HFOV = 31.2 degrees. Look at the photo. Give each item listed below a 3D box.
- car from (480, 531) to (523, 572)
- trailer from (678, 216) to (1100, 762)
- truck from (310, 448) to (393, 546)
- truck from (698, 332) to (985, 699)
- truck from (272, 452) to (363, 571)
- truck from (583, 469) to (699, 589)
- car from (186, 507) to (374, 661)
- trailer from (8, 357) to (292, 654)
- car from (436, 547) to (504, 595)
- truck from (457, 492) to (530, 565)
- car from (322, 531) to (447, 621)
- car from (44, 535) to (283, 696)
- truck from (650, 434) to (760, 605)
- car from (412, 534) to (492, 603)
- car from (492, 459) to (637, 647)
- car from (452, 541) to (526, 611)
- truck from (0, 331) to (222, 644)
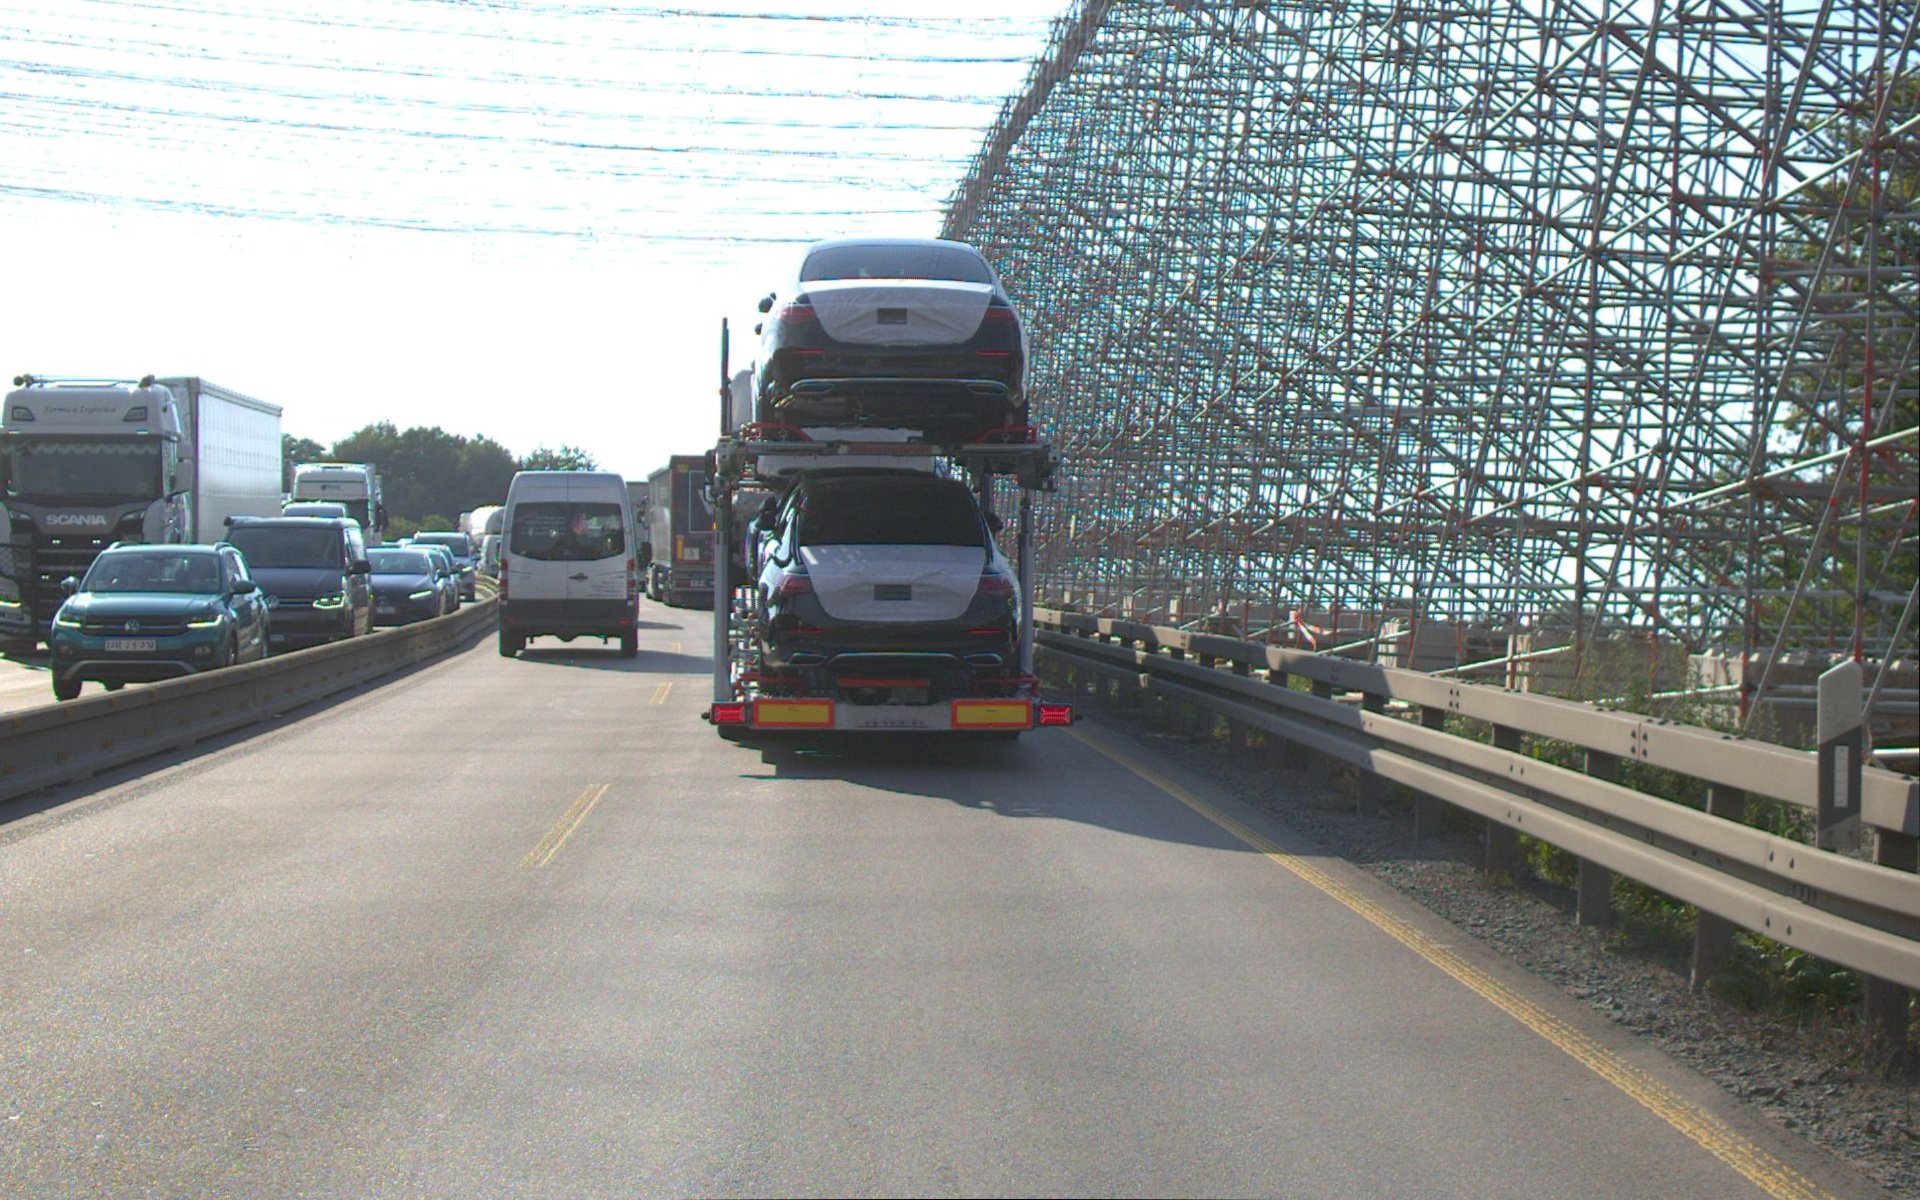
[{"bbox_3d":[-18.582,-1.946,139.454,1.710,1.612,3.504,0,0,-7],"label":"car"},{"bbox_3d":[-0.927,-0.812,31.025,2.868,3.712,14.949,0,0,-3],"label":"trailer"},{"bbox_3d":[-23.155,-3.852,130.452,2.594,3.461,12.396,2,1,-12],"label":"truck"},{"bbox_3d":[-1.425,-0.876,38.462,2.881,3.690,7.326,0,0,-4],"label":"truck"},{"bbox_3d":[-20.213,-2.766,108.532,2.594,3.461,12.396,2,1,-10],"label":"truck"},{"bbox_3d":[-12.304,-2.649,131.423,3.686,4.206,13.671,-2,1,-8],"label":"truck"},{"bbox_3d":[-9.140,-0.241,46.549,1.874,1.928,4.862,1,1,-4],"label":"car"},{"bbox_3d":[-13.075,-1.485,56.717,2.653,4.219,13.923,2,1,-6],"label":"trailer"},{"bbox_3d":[-15.837,-0.959,110.962,1.836,1.448,4.001,2,1,-12],"label":"car"},{"bbox_3d":[-24.932,-3.818,183.469,2.615,3.711,9.662,2,1,-15],"label":"truck"},{"bbox_3d":[-10.242,-0.460,61.485,1.784,1.497,4.755,2,1,-5],"label":"car"},{"bbox_3d":[-8.174,0.121,35.611,1.742,1.529,4.268,1,1,-4],"label":"car"},{"bbox_3d":[-7.154,-2.207,95.287,2.731,4.370,11.523,1,1,-5],"label":"truck"},{"bbox_3d":[-12.690,-0.803,86.091,1.695,1.623,4.001,2,1,-5],"label":"car"},{"bbox_3d":[-5.765,-0.659,49.783,1.956,2.612,4.001,0,0,-8],"label":"car"},{"bbox_3d":[-13.379,-0.701,97.889,1.836,1.887,4.001,2,1,-5],"label":"car"},{"bbox_3d":[-12.342,-1.562,49.663,2.662,4.215,6.106,0,1,-6],"label":"truck"}]
